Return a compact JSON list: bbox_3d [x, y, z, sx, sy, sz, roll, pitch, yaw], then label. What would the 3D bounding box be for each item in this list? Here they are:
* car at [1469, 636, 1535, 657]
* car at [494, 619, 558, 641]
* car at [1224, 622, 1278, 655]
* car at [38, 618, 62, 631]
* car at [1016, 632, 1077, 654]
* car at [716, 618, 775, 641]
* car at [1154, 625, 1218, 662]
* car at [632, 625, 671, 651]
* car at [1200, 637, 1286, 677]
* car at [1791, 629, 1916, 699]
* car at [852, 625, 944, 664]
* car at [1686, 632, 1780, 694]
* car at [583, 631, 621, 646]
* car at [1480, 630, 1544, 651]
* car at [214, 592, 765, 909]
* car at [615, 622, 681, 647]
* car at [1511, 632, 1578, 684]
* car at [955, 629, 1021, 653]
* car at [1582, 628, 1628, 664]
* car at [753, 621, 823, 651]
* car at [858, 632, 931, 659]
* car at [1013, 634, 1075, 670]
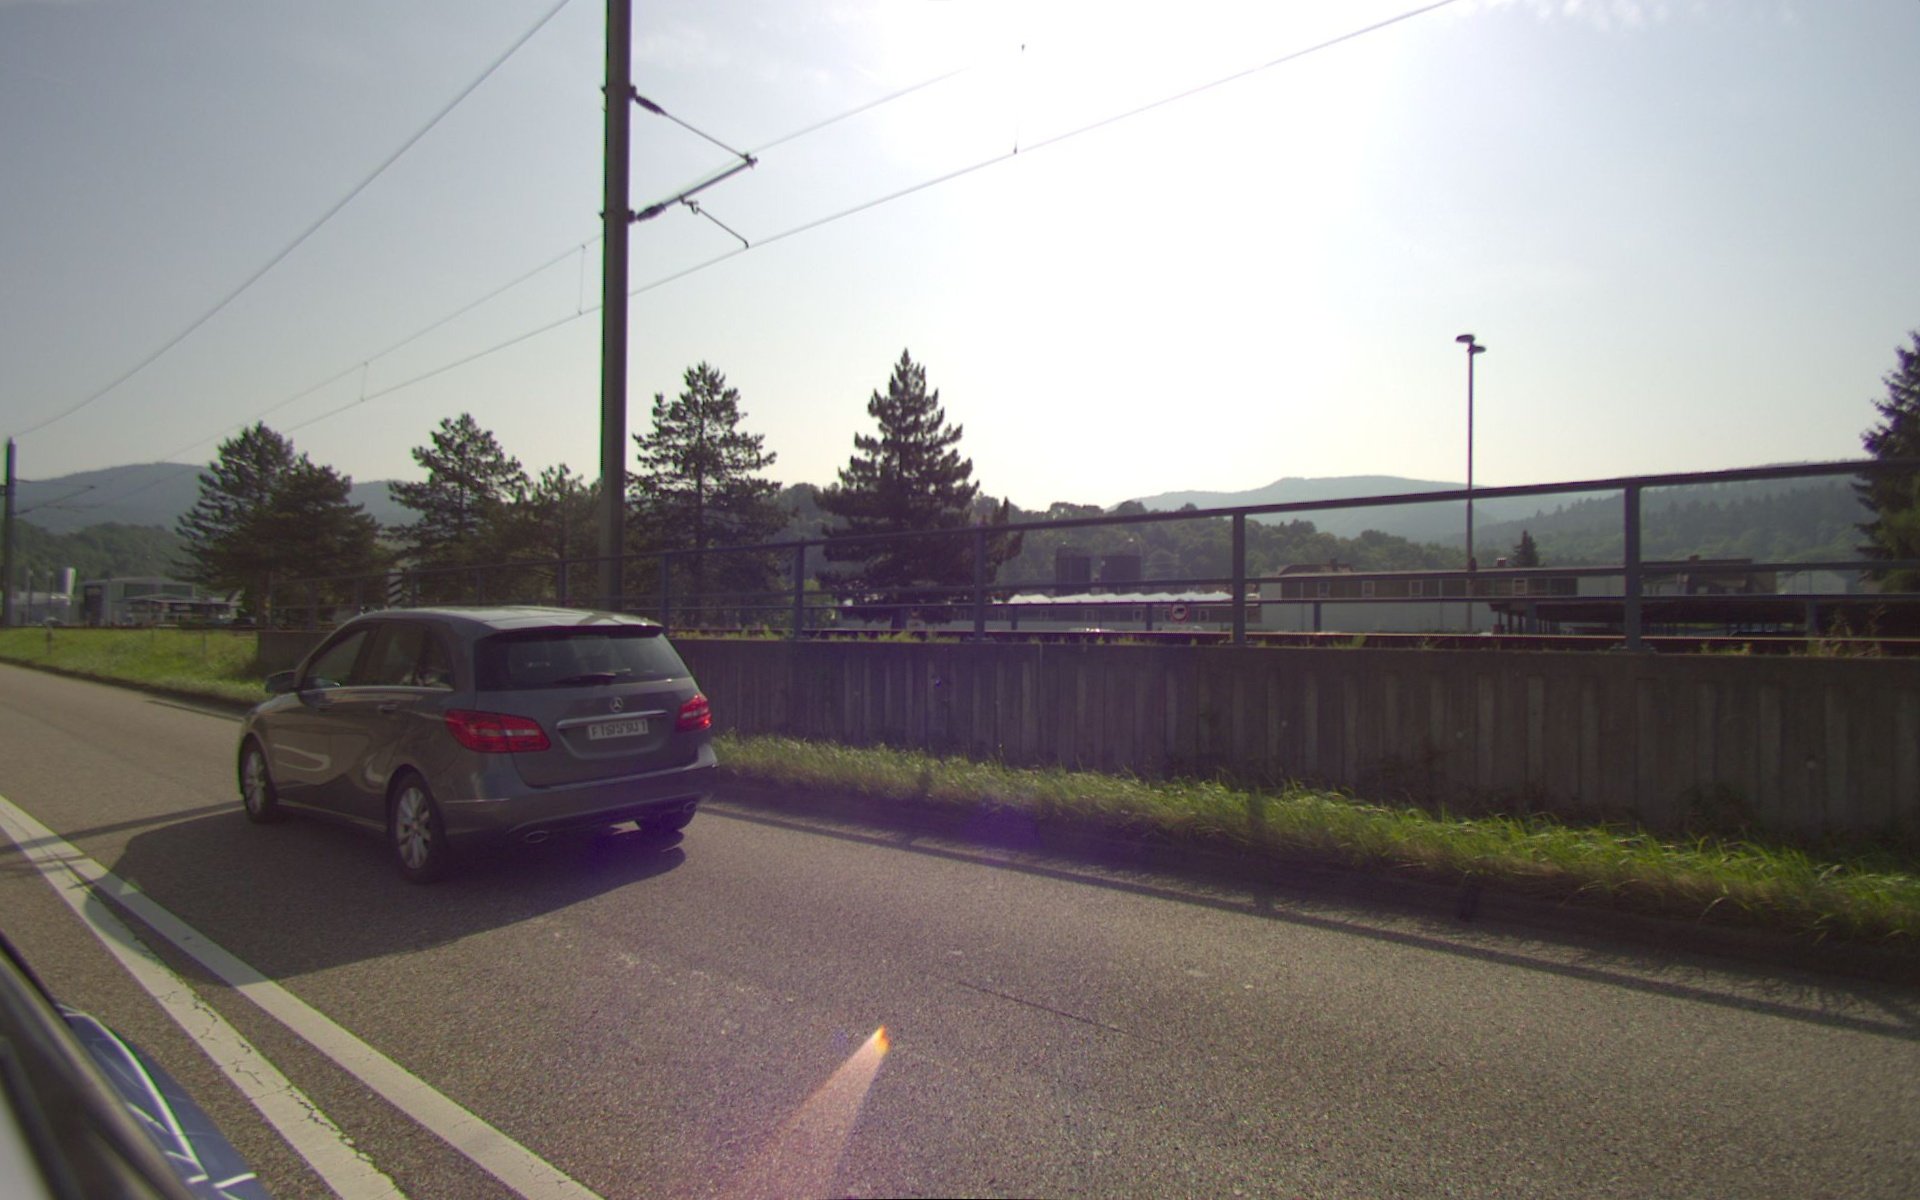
[{"bbox_3d":[35.177,3.013,65.782,3.501,1.335,1.451,0,-2,13],"label":"car"},{"bbox_3d":[-30.808,2.123,71.860,3.795,1.454,1.689,1,-2,-4],"label":"car"},{"bbox_3d":[16.415,2.138,56.962,1.993,1.733,3.958,-1,-2,31],"label":"car"},{"bbox_3d":[-128.255,3.437,142.601,4.357,1.701,1.507,0,0,33],"label":"car"},{"bbox_3d":[5.392,2.680,62.870,3.476,1.335,1.461,1,-2,-17],"label":"car"},{"bbox_3d":[-15.756,2.164,74.484,3.943,1.733,2.000,0,-1,0],"label":"car"},{"bbox_3d":[11.190,2.092,49.991,1.993,1.733,3.958,-1,-2,31],"label":"car"},{"bbox_3d":[-17.457,2.141,57.375,1.496,1.368,3.526,1,-2,-6],"label":"car"},{"bbox_3d":[10.115,2.001,36.359,1.433,1.335,3.546,1,-2,-13],"label":"car"},{"bbox_3d":[23.735,1.632,27.040,1.812,1.678,3.957,-1,-1,31],"label":"car"},{"bbox_3d":[-2.903,2.025,46.752,3.933,1.733,2.005,0,-2,-13],"label":"car"},{"bbox_3d":[23.254,1.825,30.561,1.812,1.678,3.957,-1,-1,31],"label":"car"},{"bbox_3d":[-38.403,4.151,108.485,3.985,1.560,1.666,0,-2,31],"label":"car"},{"bbox_3d":[37.455,2.723,68.699,3.492,1.335,1.455,1,-2,5],"label":"car"},{"bbox_3d":[-3.359,0.754,6.857,4.195,1.518,1.724,-1,-2,39],"label":"car"},{"bbox_3d":[-20.252,2.231,65.816,3.795,1.518,1.689,1,-2,-4],"label":"car"},{"bbox_3d":[19.503,1.866,33.718,1.812,1.548,3.957,-1,-1,31],"label":"car"},{"bbox_3d":[1.609,2.360,58.200,3.476,1.335,1.461,1,-2,-17],"label":"car"},{"bbox_3d":[32.099,2.254,50.426,1.812,1.678,3.957,-1,-1,31],"label":"car"},{"bbox_3d":[-10.190,2.087,59.756,3.933,1.733,2.005,0,-2,-13],"label":"car"},{"bbox_3d":[-3.378,2.336,52.355,3.476,1.335,1.462,1,-2,-17],"label":"car"},{"bbox_3d":[3.337,2.068,40.725,1.433,1.335,3.546,1,-2,-13],"label":"car"}]
